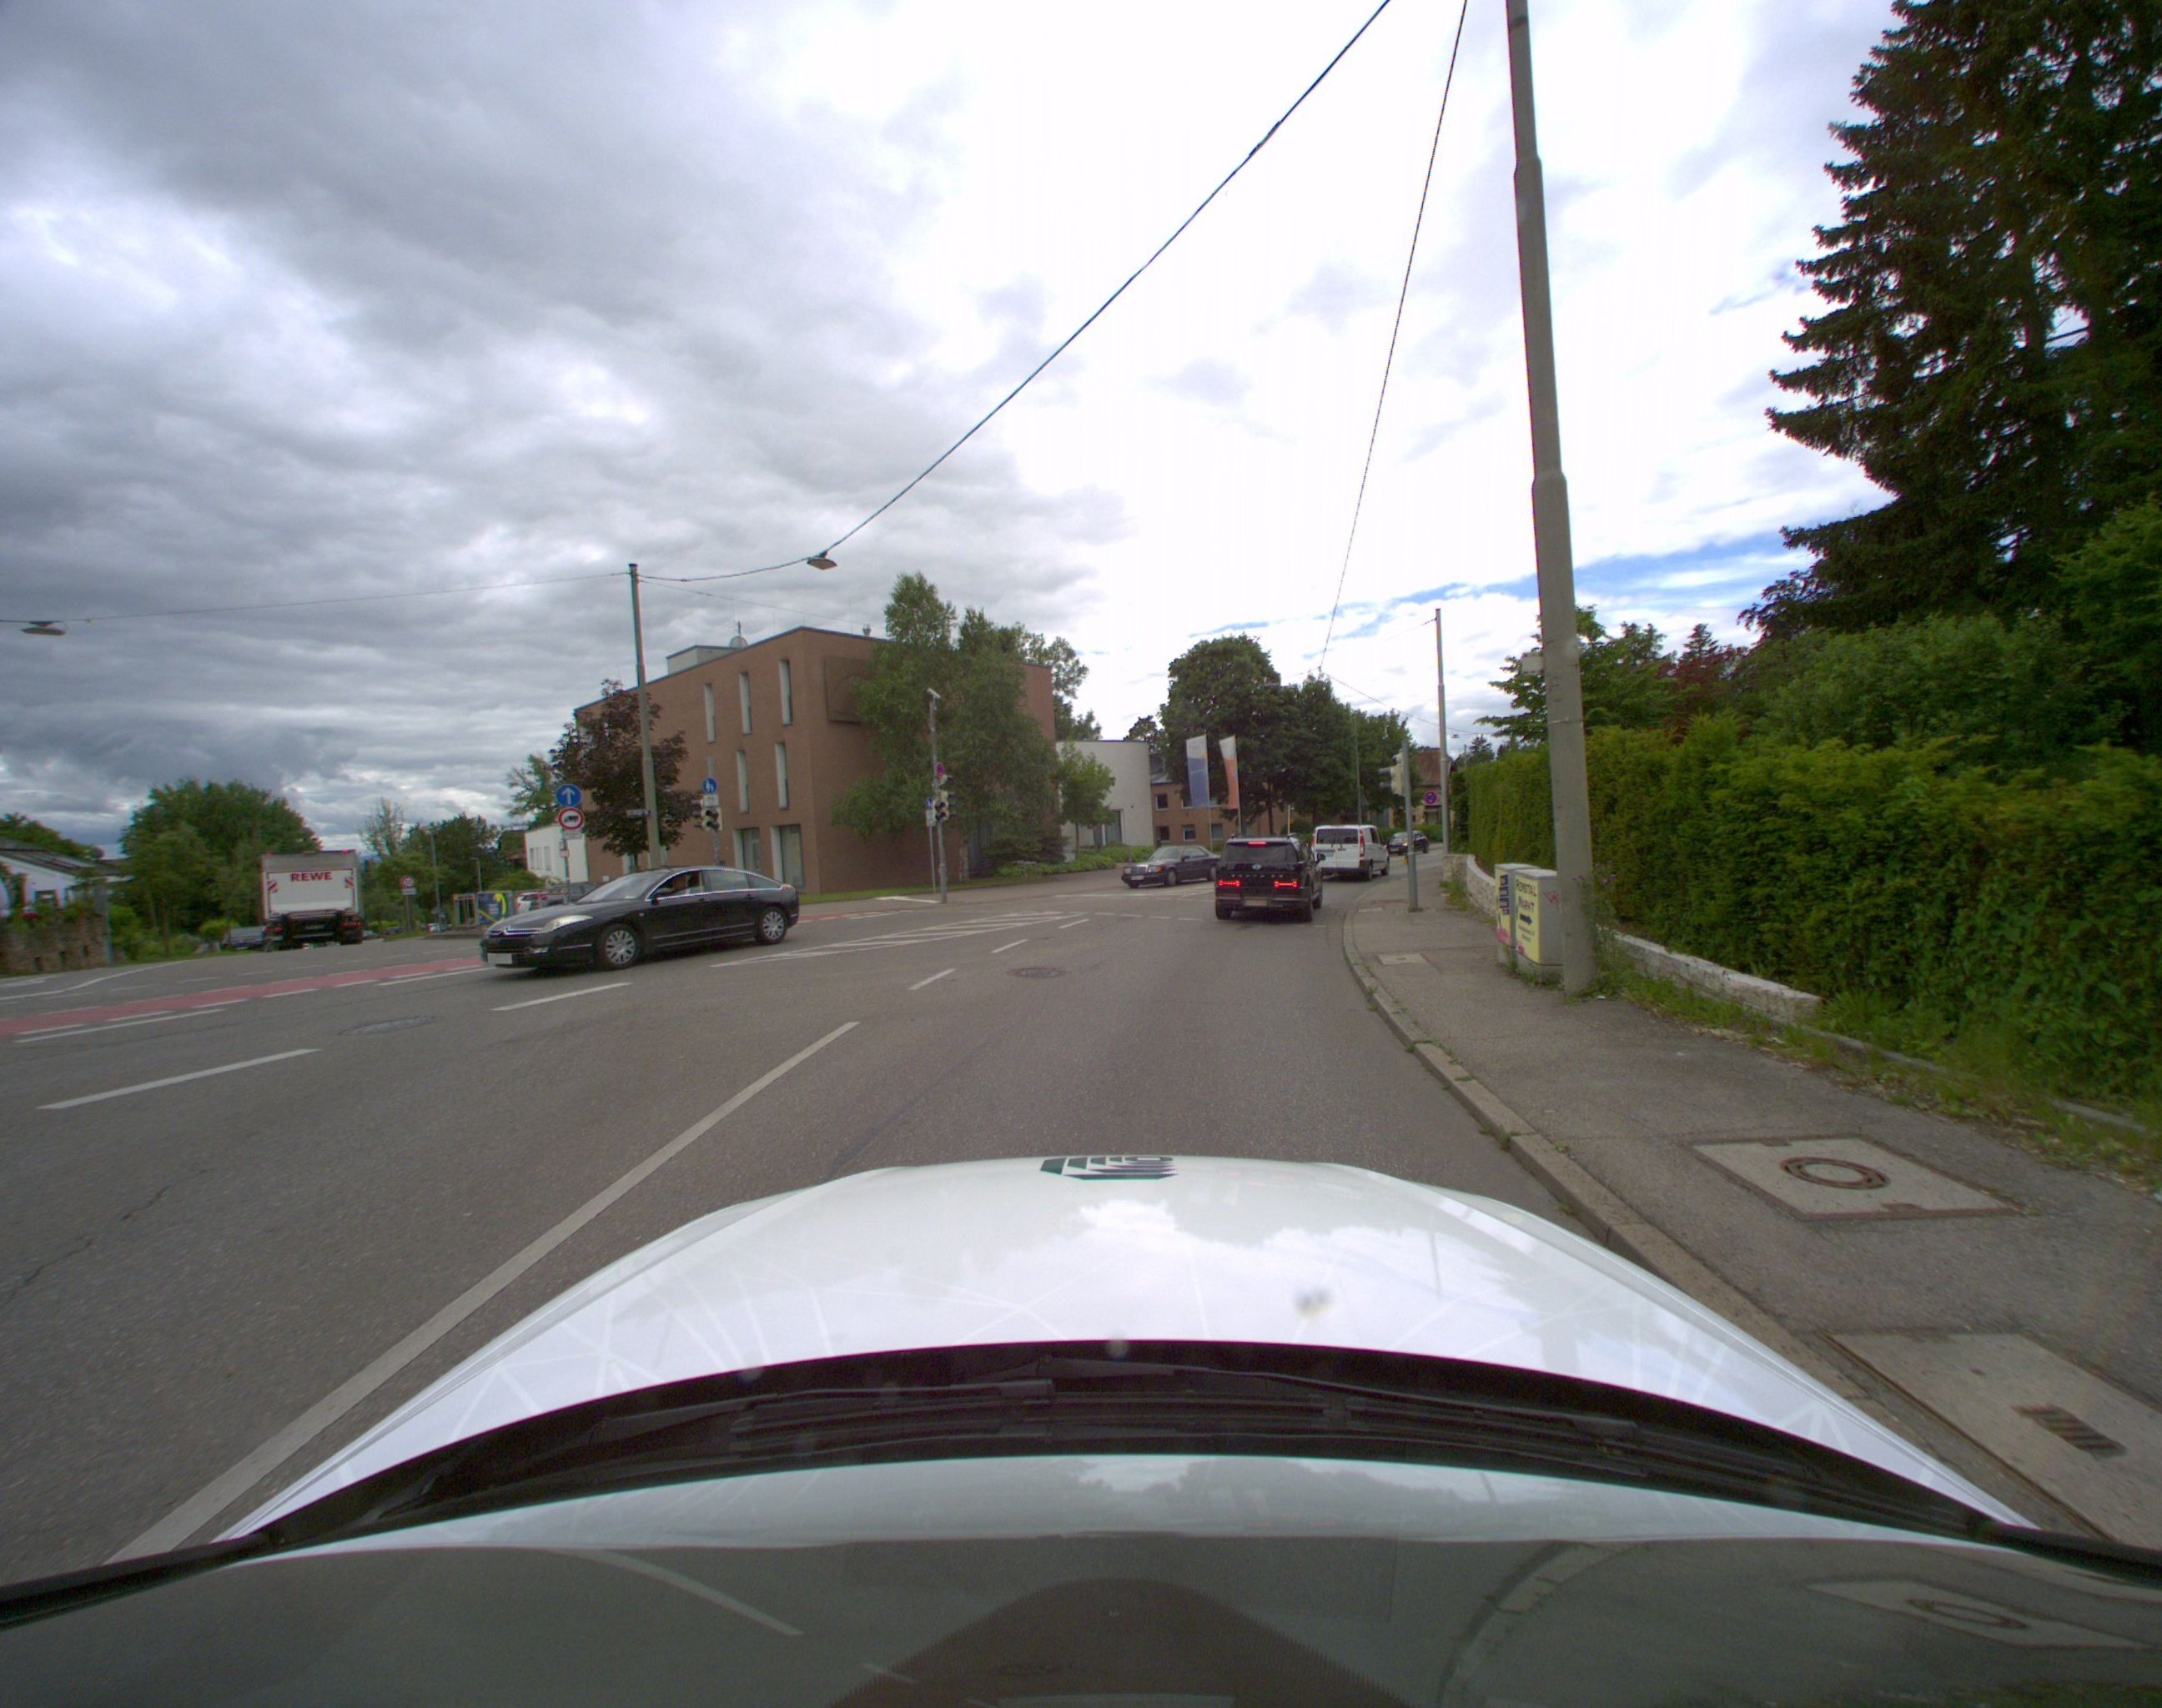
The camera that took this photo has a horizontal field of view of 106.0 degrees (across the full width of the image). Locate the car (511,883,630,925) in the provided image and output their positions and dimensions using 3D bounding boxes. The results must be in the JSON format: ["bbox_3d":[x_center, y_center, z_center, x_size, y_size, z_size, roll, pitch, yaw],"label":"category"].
[{"bbox_3d":[-21.891,2.111,35.017,1.764,1.521,4.030,-3,-1,43],"label":"car"}]

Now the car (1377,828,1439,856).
[{"bbox_3d":[19.304,-0.718,48.037,4.024,1.408,1.746,-4,1,-43],"label":"car"}]

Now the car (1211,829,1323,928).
[{"bbox_3d":[4.063,0.390,17.286,1.941,1.712,4.244,1,3,18],"label":"car"}]

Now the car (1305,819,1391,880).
[{"bbox_3d":[9.424,-0.225,28.534,1.938,1.955,4.250,0,2,31],"label":"car"}]

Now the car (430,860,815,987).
[{"bbox_3d":[-6.927,0.941,13.074,1.975,1.422,5.088,-3,1,26],"label":"car"}]

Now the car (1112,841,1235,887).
[{"bbox_3d":[3.335,0.314,28.561,1.828,1.328,4.899,-3,0,40],"label":"car"}]

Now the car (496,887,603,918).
[{"bbox_3d":[-24.843,2.249,38.140,1.764,1.090,3.870,-3,1,43],"label":"car"}]

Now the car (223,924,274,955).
[{"bbox_3d":[-53.309,5.422,52.230,2.012,1.692,3.951,-4,-1,-43],"label":"car"}]

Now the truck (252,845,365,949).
[{"bbox_3d":[-32.288,1.871,34.296,3.037,3.798,8.212,-2,-2,-42],"label":"truck"}]

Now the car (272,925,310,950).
[{"bbox_3d":[-63.242,6.629,65.255,2.012,1.692,3.951,-4,-1,-43],"label":"car"}]
